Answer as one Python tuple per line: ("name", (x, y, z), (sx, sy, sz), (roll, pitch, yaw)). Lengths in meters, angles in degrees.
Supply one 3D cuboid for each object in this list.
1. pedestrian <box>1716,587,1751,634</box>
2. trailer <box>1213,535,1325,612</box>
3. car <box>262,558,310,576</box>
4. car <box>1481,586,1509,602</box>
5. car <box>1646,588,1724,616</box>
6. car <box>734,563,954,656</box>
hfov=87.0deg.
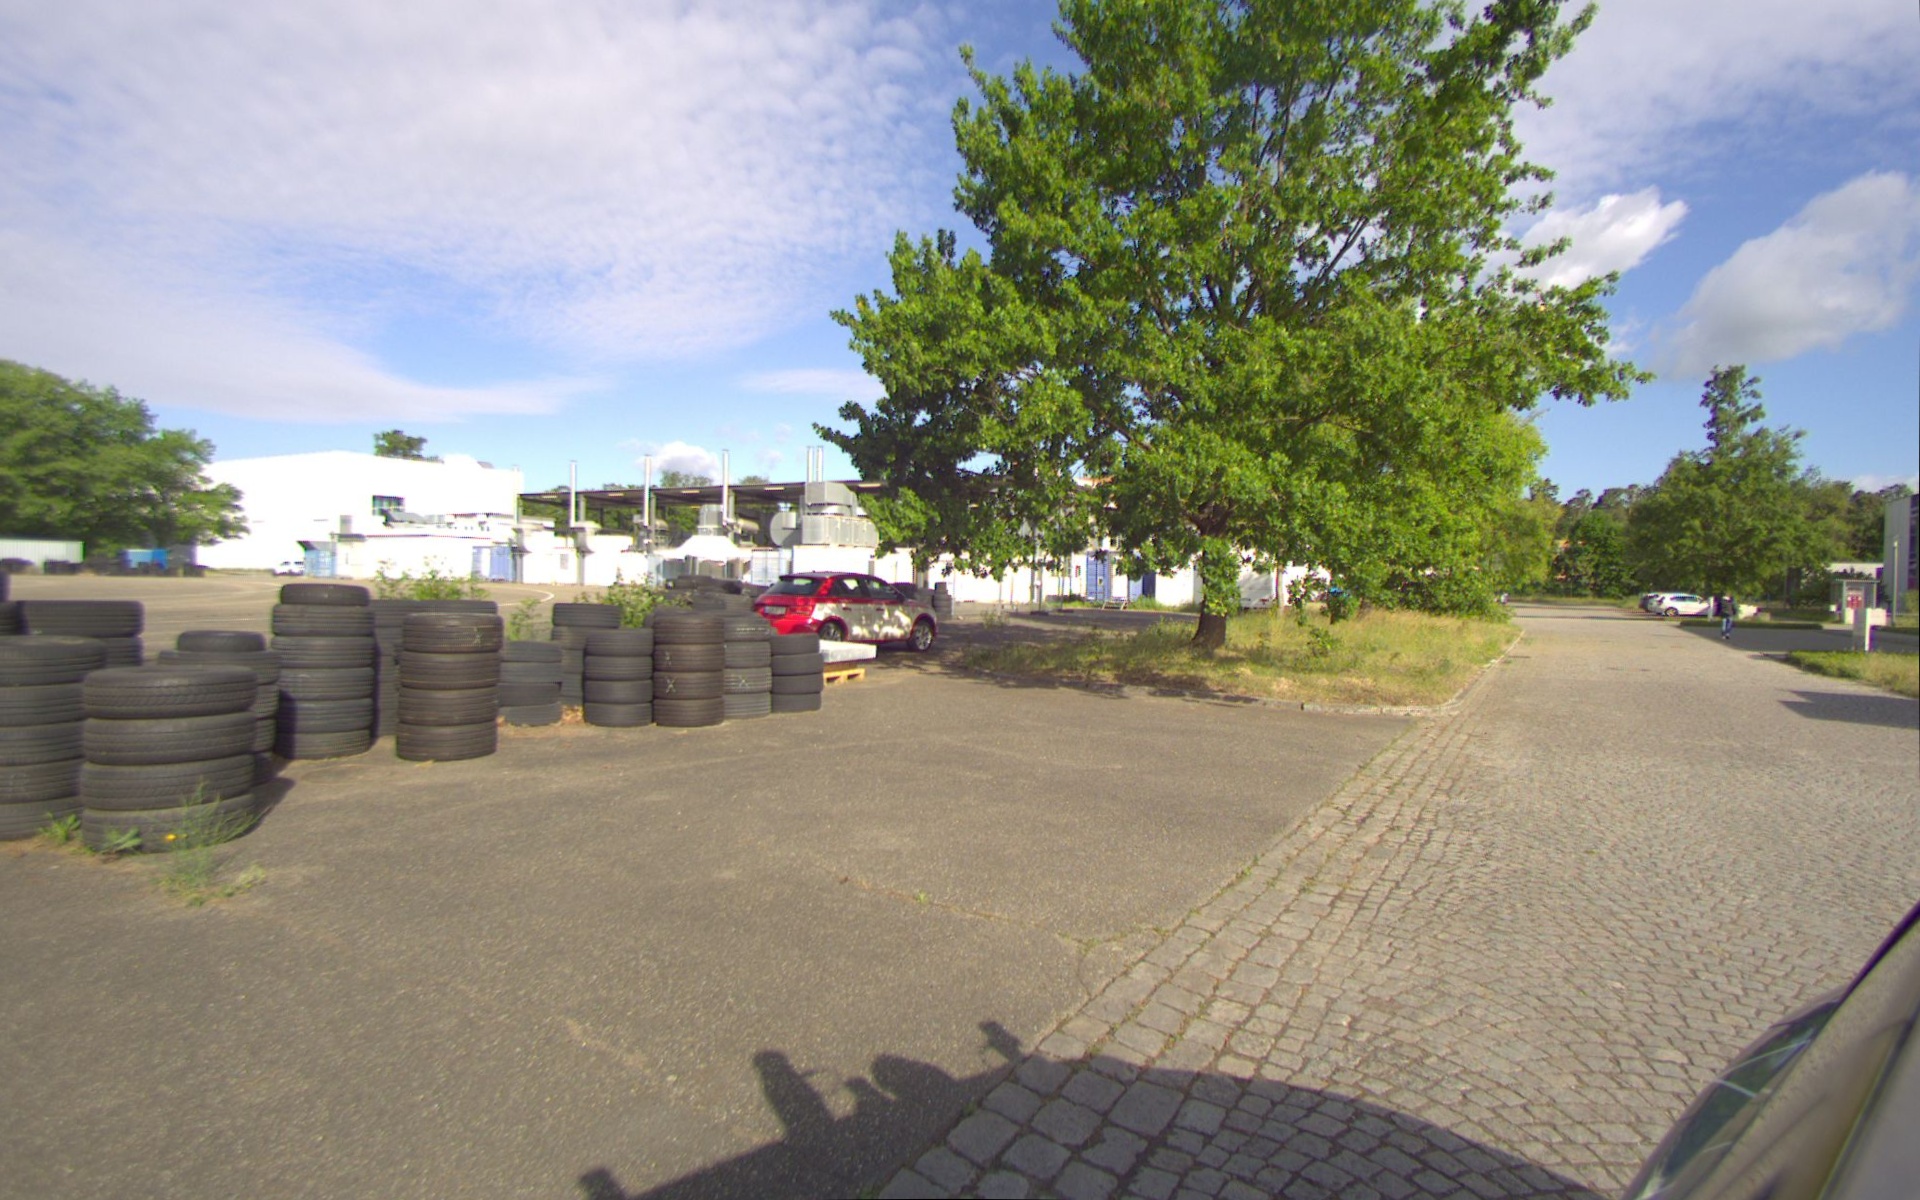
("pedestrian", (26.866, 0.345, 35.153), (0.864, 1.578, 1.012), (2, 1, 42))
("trailer", (15.928, -1.317, 51.521), (2.905, 3.514, 9.786), (2, 1, 32))
("car", (-61.825, -3.049, 92.778), (4.508, 1.584, 1.856), (2, 1, 30))
("car", (48.394, -0.557, 91.626), (1.979, 1.388, 3.967), (2, 1, 25))
("car", (46.337, 0.093, 64.750), (3.978, 1.663, 1.974), (2, 2, 37))
("car", (-2.002, 0.129, 18.383), (1.719, 1.482, 3.946), (2, 1, 37))
